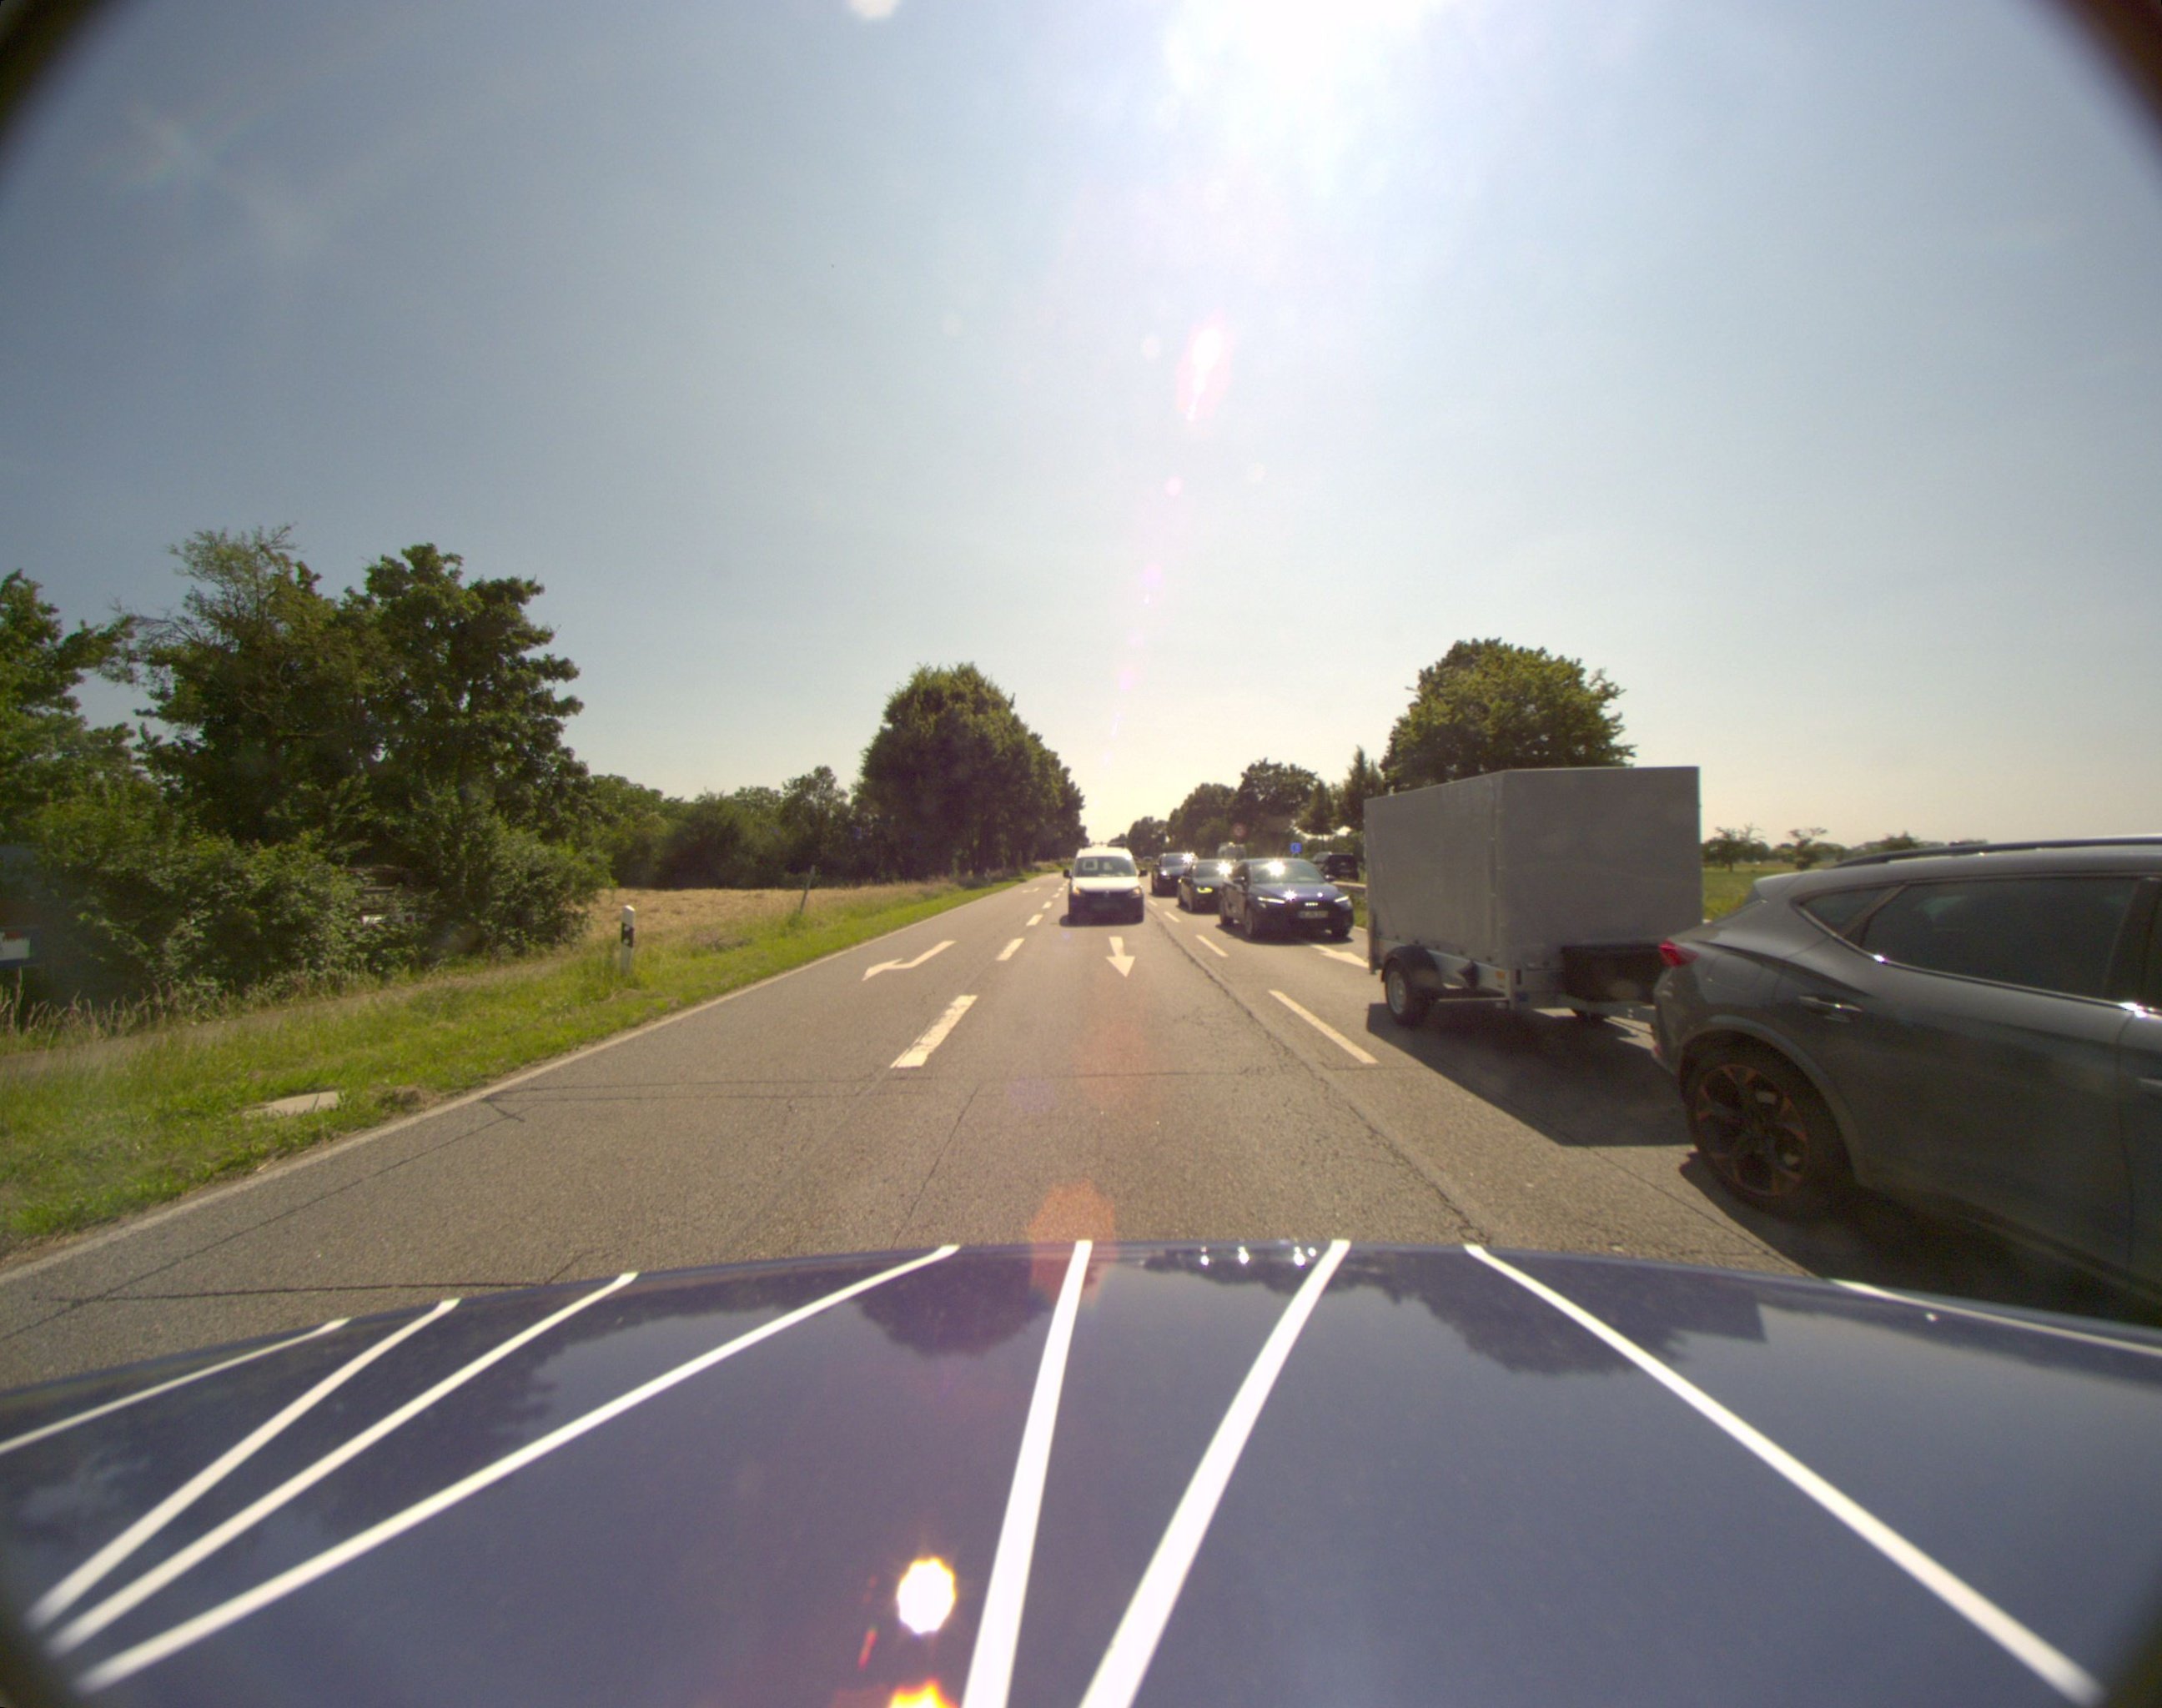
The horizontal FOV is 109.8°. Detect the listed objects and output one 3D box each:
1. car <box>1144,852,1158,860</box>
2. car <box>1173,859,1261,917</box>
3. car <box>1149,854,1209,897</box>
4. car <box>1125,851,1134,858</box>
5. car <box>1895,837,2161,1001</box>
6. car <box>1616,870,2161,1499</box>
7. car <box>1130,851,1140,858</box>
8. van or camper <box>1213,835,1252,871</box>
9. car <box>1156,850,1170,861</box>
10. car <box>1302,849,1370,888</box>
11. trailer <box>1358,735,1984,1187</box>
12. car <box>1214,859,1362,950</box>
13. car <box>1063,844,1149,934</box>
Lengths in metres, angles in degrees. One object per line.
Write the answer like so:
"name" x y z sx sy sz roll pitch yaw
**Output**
"car" 11.662 0.325 126.839 1.884 1.446 4.504 0 0 0
"car" 3.735 0.888 21.554 1.744 1.372 4.455 -2 0 1
"car" 3.735 0.790 29.620 1.860 1.507 4.100 -1 0 2
"car" 12.790 0.137 199.619 1.998 1.653 4.480 0 0 0
"car" 13.642 0.760 9.273 1.999 1.919 5.015 0 0 -1
"car" 3.565 0.847 1.637 1.750 1.494 4.363 -2 0 0
"car" 12.323 0.076 174.431 1.998 1.594 4.480 0 1 0
"van or camper" 13.540 -0.058 68.337 2.269 3.081 5.695 0 0 -1
"car" 14.529 0.251 135.399 1.998 1.940 4.830 1 0 0
"car" 13.043 0.702 39.141 1.862 1.845 4.696 0 0 -1
"trailer" 3.630 0.526 5.775 1.504 2.160 4.174 -1 0 0
"car" 3.808 0.858 14.725 1.721 1.456 4.029 -2 0 0
"car" 0.571 0.743 18.614 1.777 1.863 4.581 -2 0 1
